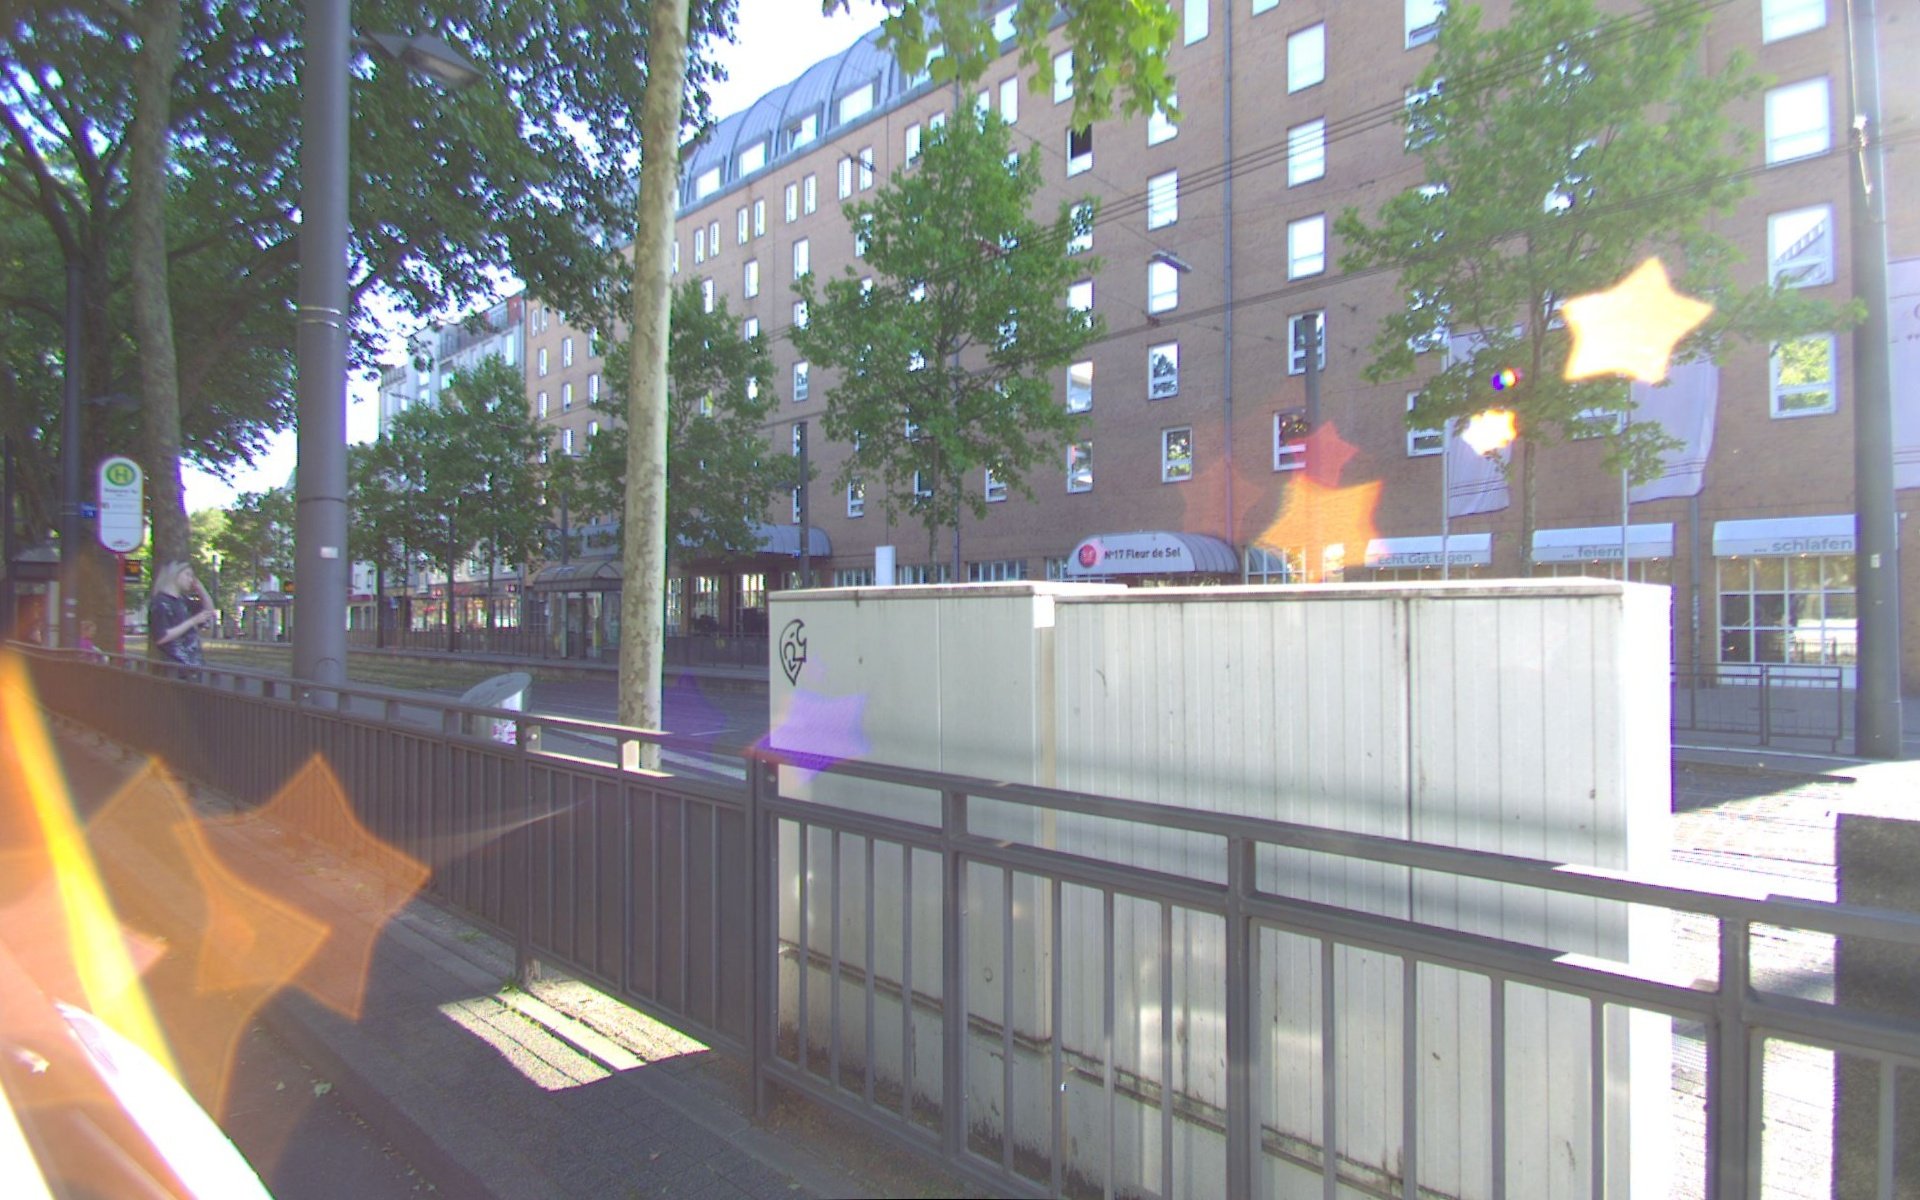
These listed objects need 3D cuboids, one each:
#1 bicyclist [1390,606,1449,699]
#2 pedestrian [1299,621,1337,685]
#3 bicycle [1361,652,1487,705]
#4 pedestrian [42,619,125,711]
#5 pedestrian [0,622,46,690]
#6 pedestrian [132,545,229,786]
[{"bbox_3d":[9.119,1.024,20.096,0.852,1.799,0.742,-2,-3,44],"label":"bicyclist"},{"bbox_3d":[9.233,1.348,26.086,0.725,1.596,0.583,-1,0,40],"label":"pedestrian"},{"bbox_3d":[9.158,1.533,20.044,2.185,0.940,0.658,-2,-2,44],"label":"bicycle"},{"bbox_3d":[-14.066,1.018,16.248,0.965,1.410,0.665,-1,0,-44],"label":"pedestrian"},{"bbox_3d":[-20.139,1.188,21.737,0.725,1.398,0.641,-1,0,-44],"label":"pedestrian"},{"bbox_3d":[-6.535,0.523,8.479,0.760,1.914,0.504,-1,0,42],"label":"pedestrian"}]
